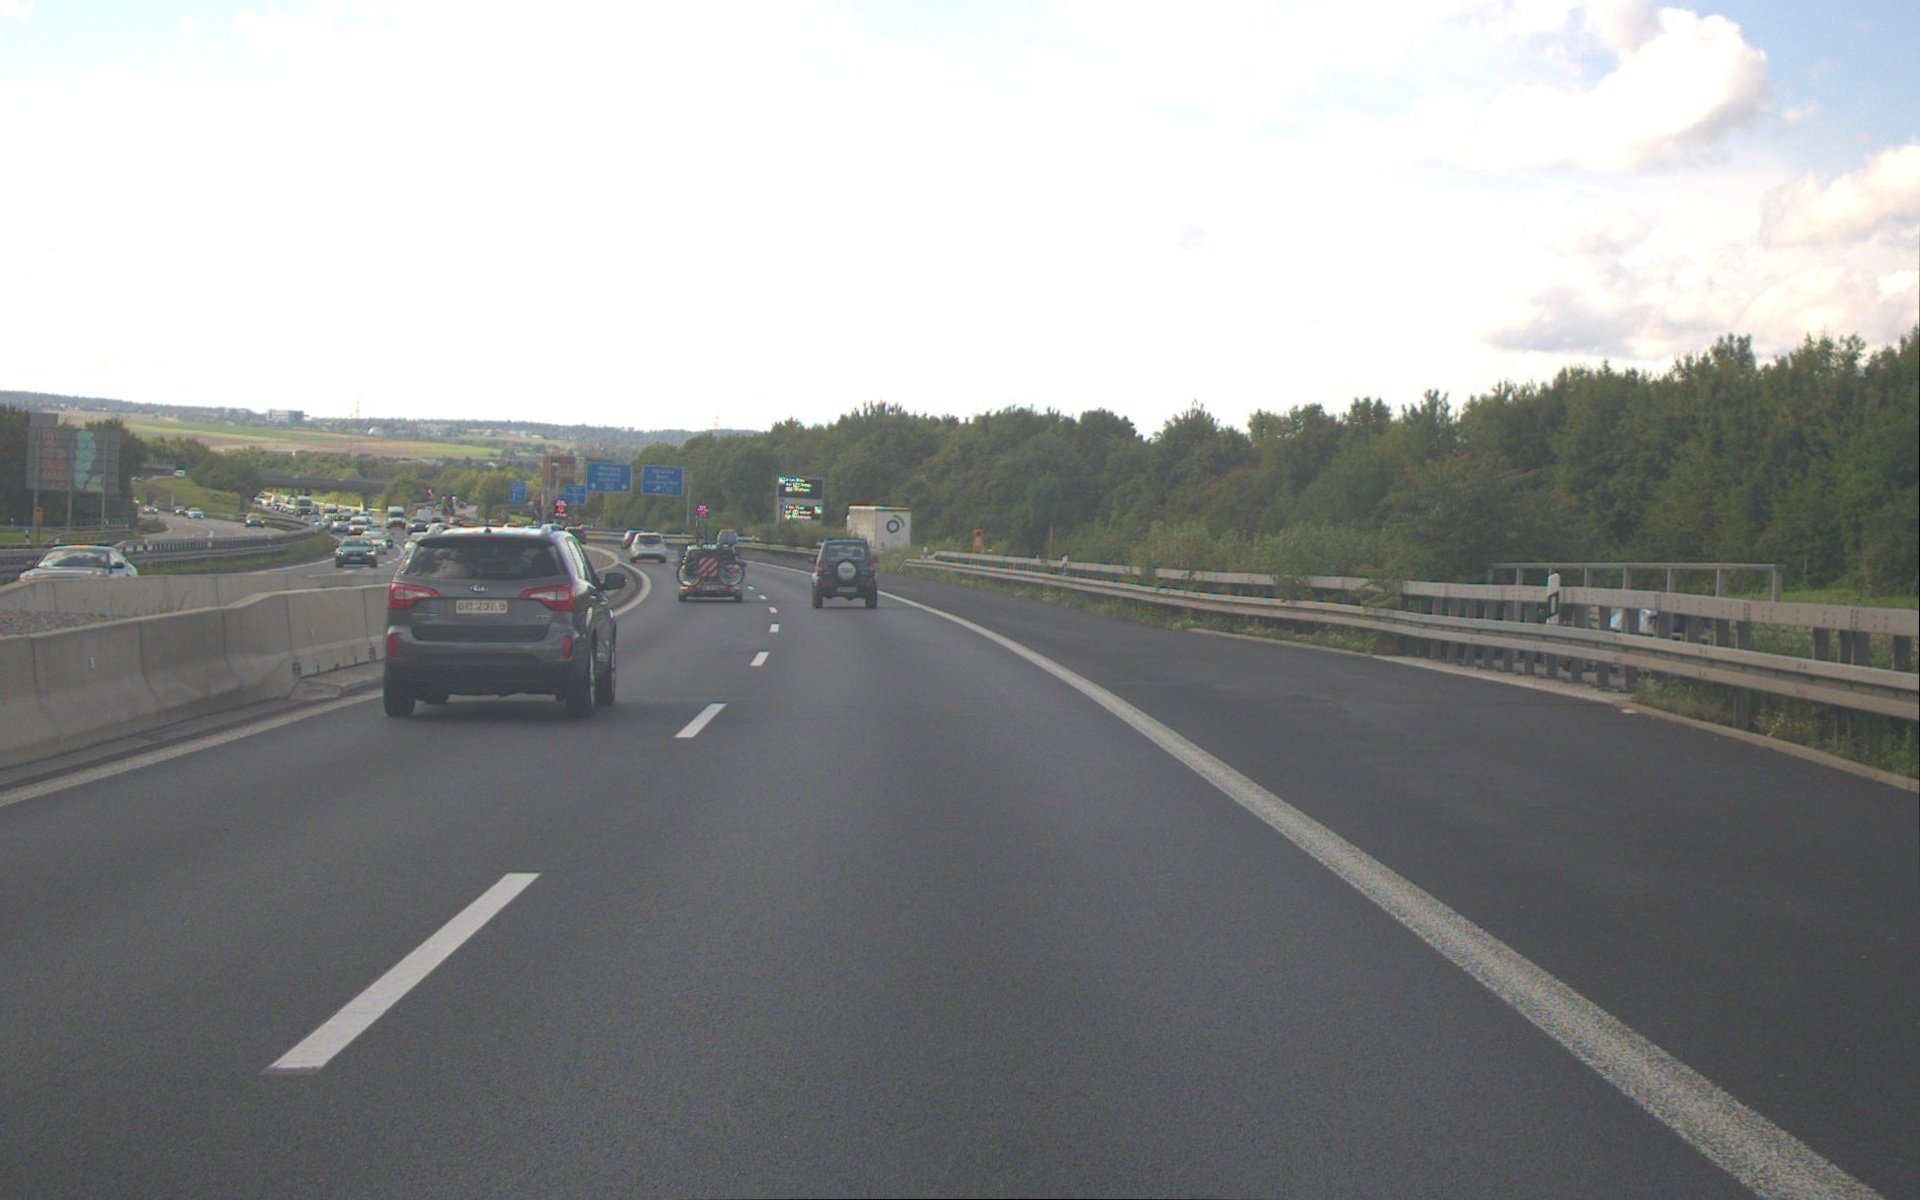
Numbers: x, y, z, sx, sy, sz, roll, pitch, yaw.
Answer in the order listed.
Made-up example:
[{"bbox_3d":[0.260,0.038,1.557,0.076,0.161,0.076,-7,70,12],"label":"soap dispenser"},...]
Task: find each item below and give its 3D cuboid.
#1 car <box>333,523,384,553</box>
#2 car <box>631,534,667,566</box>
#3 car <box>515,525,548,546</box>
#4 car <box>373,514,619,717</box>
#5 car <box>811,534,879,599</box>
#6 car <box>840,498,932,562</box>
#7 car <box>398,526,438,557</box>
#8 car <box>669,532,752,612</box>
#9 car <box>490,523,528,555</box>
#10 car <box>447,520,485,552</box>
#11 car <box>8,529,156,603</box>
[{"bbox_3d":[-28.839,-2.973,165.005,1.993,1.397,4.814,1,1,-5],"label":"car"},{"bbox_3d":[-17.676,-2.833,195.138,1.993,1.678,4.001,1,0,-6],"label":"car"},{"bbox_3d":[-27.952,-4.193,224.301,2.045,1.333,5.609,1,1,-6],"label":"car"},{"bbox_3d":[-4.275,0.111,32.369,1.817,1.730,5.187,1,0,-3],"label":"car"},{"bbox_3d":[-2.948,-0.875,87.447,1.587,1.591,4.096,1,1,-4],"label":"car"},{"bbox_3d":[-5.396,-4.989,247.195,4.727,4.251,11.407,1,0,-11],"label":"car"},{"bbox_3d":[-29.009,-3.147,184.058,1.885,1.604,4.967,1,1,-6],"label":"car"},{"bbox_3d":[-6.906,-0.798,95.614,2.030,2.144,4.000,1,1,-1],"label":"car"},{"bbox_3d":[-24.595,-3.351,187.426,1.885,1.697,4.967,1,1,-6],"label":"car"},{"bbox_3d":[-28.406,-3.678,197.901,1.885,1.778,4.954,1,1,-5],"label":"car"},{"bbox_3d":[-18.086,-0.671,71.028,1.874,1.442,5.122,1,0,-2],"label":"car"}]
